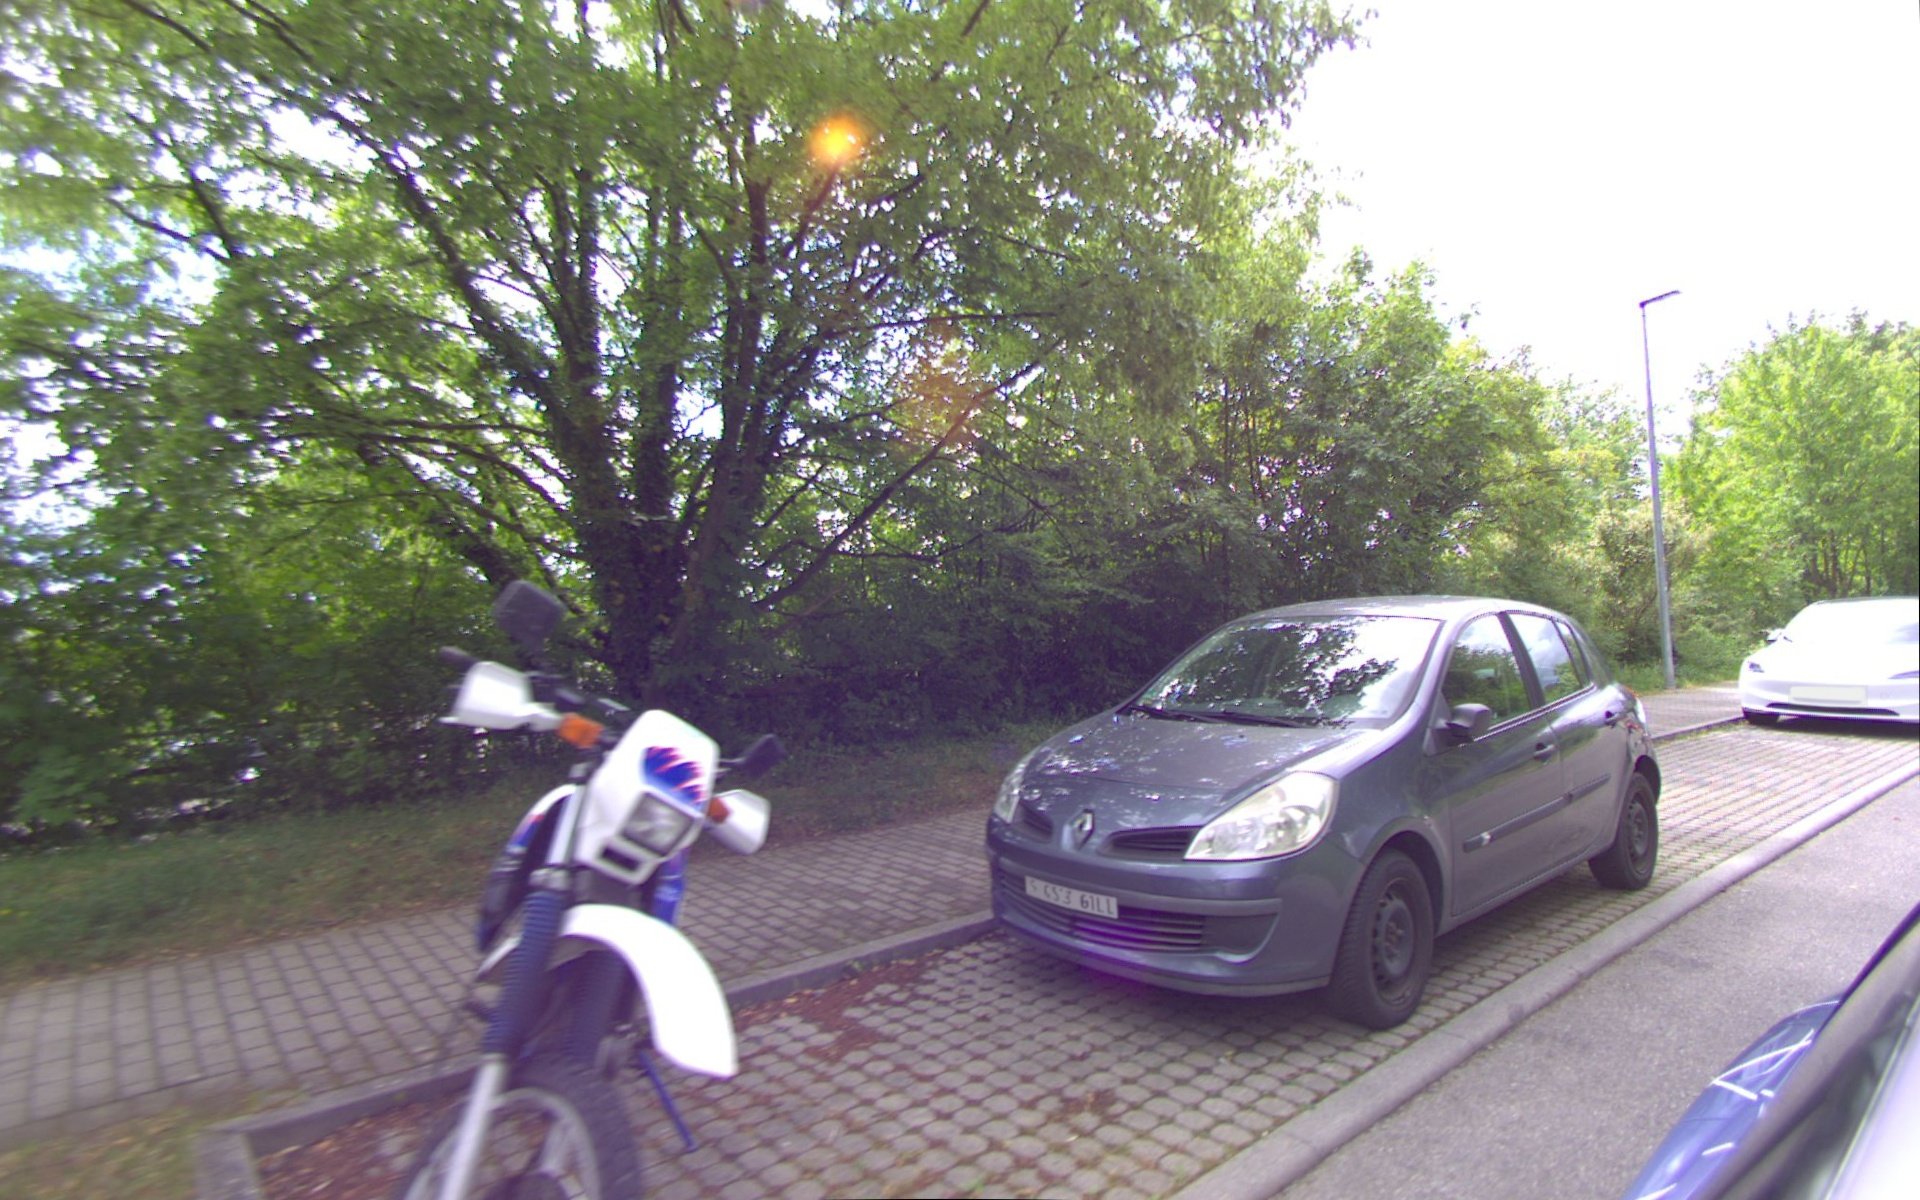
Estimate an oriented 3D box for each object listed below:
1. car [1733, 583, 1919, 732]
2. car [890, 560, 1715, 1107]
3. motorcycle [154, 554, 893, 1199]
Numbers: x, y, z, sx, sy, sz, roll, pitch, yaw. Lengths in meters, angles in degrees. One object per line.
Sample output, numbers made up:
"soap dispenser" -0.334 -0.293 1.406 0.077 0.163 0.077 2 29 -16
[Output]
"car" 11.197 0.552 12.096 4.811 1.496 1.868 -1 0 -37
"car" 1.847 0.639 4.810 4.033 1.537 1.773 -1 -1 -38
"motorcycle" -0.855 0.681 2.533 0.955 1.494 2.317 0 0 -14
